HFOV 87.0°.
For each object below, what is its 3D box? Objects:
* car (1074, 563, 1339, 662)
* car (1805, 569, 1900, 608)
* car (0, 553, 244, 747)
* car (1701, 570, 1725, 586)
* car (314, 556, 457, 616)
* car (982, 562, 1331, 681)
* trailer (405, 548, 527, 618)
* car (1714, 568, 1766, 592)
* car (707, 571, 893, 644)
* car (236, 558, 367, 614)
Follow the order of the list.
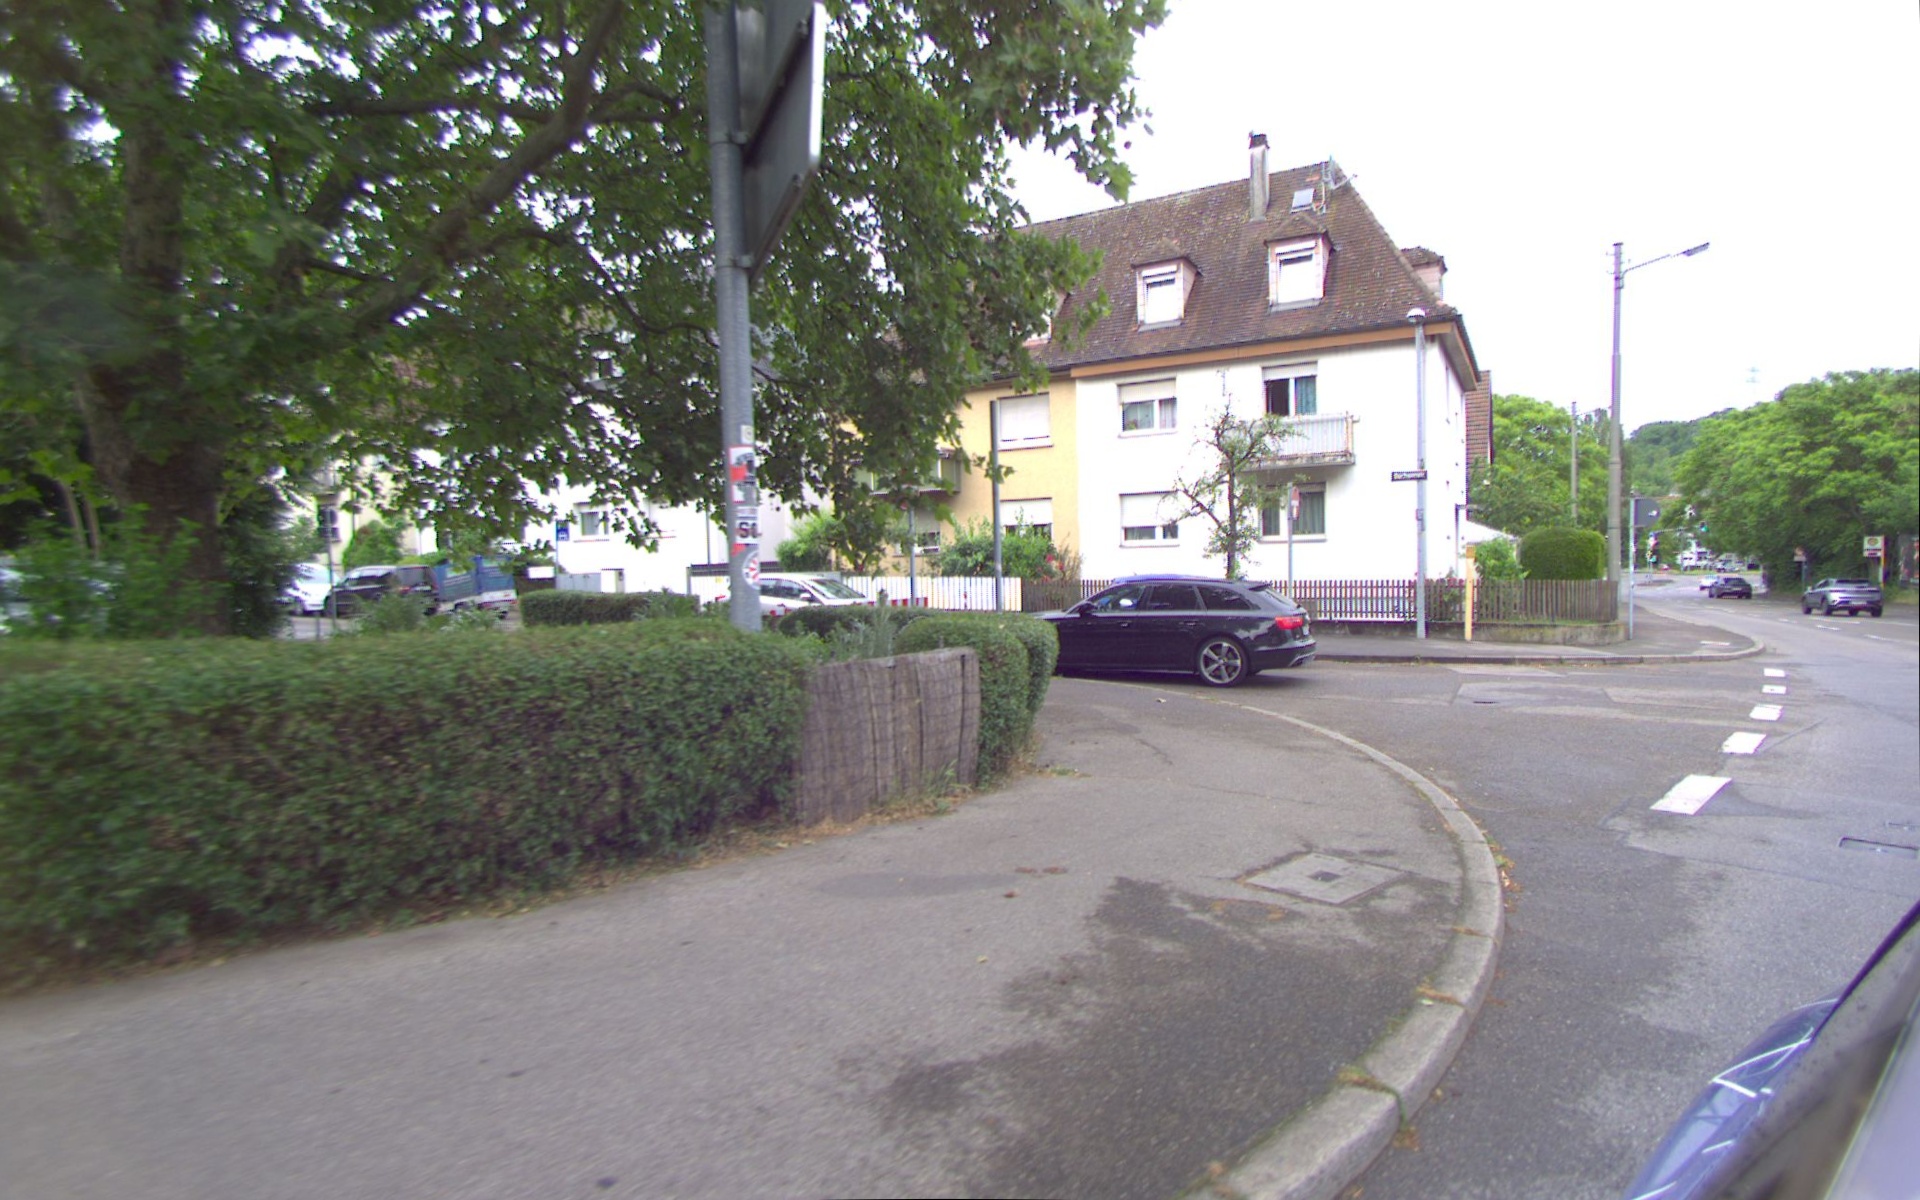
[{"bbox_3d":[4.225,0.134,17.542,4.097,1.498,1.864,2,2,33],"label":"car"},{"bbox_3d":[35.895,-0.507,40.817,1.882,1.479,3.964,1,2,26],"label":"car"},{"bbox_3d":[-9.032,0.358,10.191,3.975,1.600,1.800,1,2,36],"label":"car"},{"bbox_3d":[73.924,-2.154,99.299,1.667,1.486,3.725,1,2,40],"label":"car"},{"bbox_3d":[-18.729,-0.488,32.952,4.537,1.862,1.981,1,1,28],"label":"car"},{"bbox_3d":[2.867,0.216,14.960,4.769,1.498,1.869,1,2,26],"label":"car"},{"bbox_3d":[-15.175,-0.534,31.086,3.457,2.039,1.657,1,1,27],"label":"trailer"},{"bbox_3d":[53.763,-1.396,69.813,1.982,1.460,4.730,3,4,28],"label":"car"},{"bbox_3d":[-3.477,0.112,21.919,3.754,1.471,1.753,1,1,31],"label":"car"},{"bbox_3d":[-23.255,-0.516,35.743,4.537,1.862,1.981,1,1,28],"label":"car"}]
